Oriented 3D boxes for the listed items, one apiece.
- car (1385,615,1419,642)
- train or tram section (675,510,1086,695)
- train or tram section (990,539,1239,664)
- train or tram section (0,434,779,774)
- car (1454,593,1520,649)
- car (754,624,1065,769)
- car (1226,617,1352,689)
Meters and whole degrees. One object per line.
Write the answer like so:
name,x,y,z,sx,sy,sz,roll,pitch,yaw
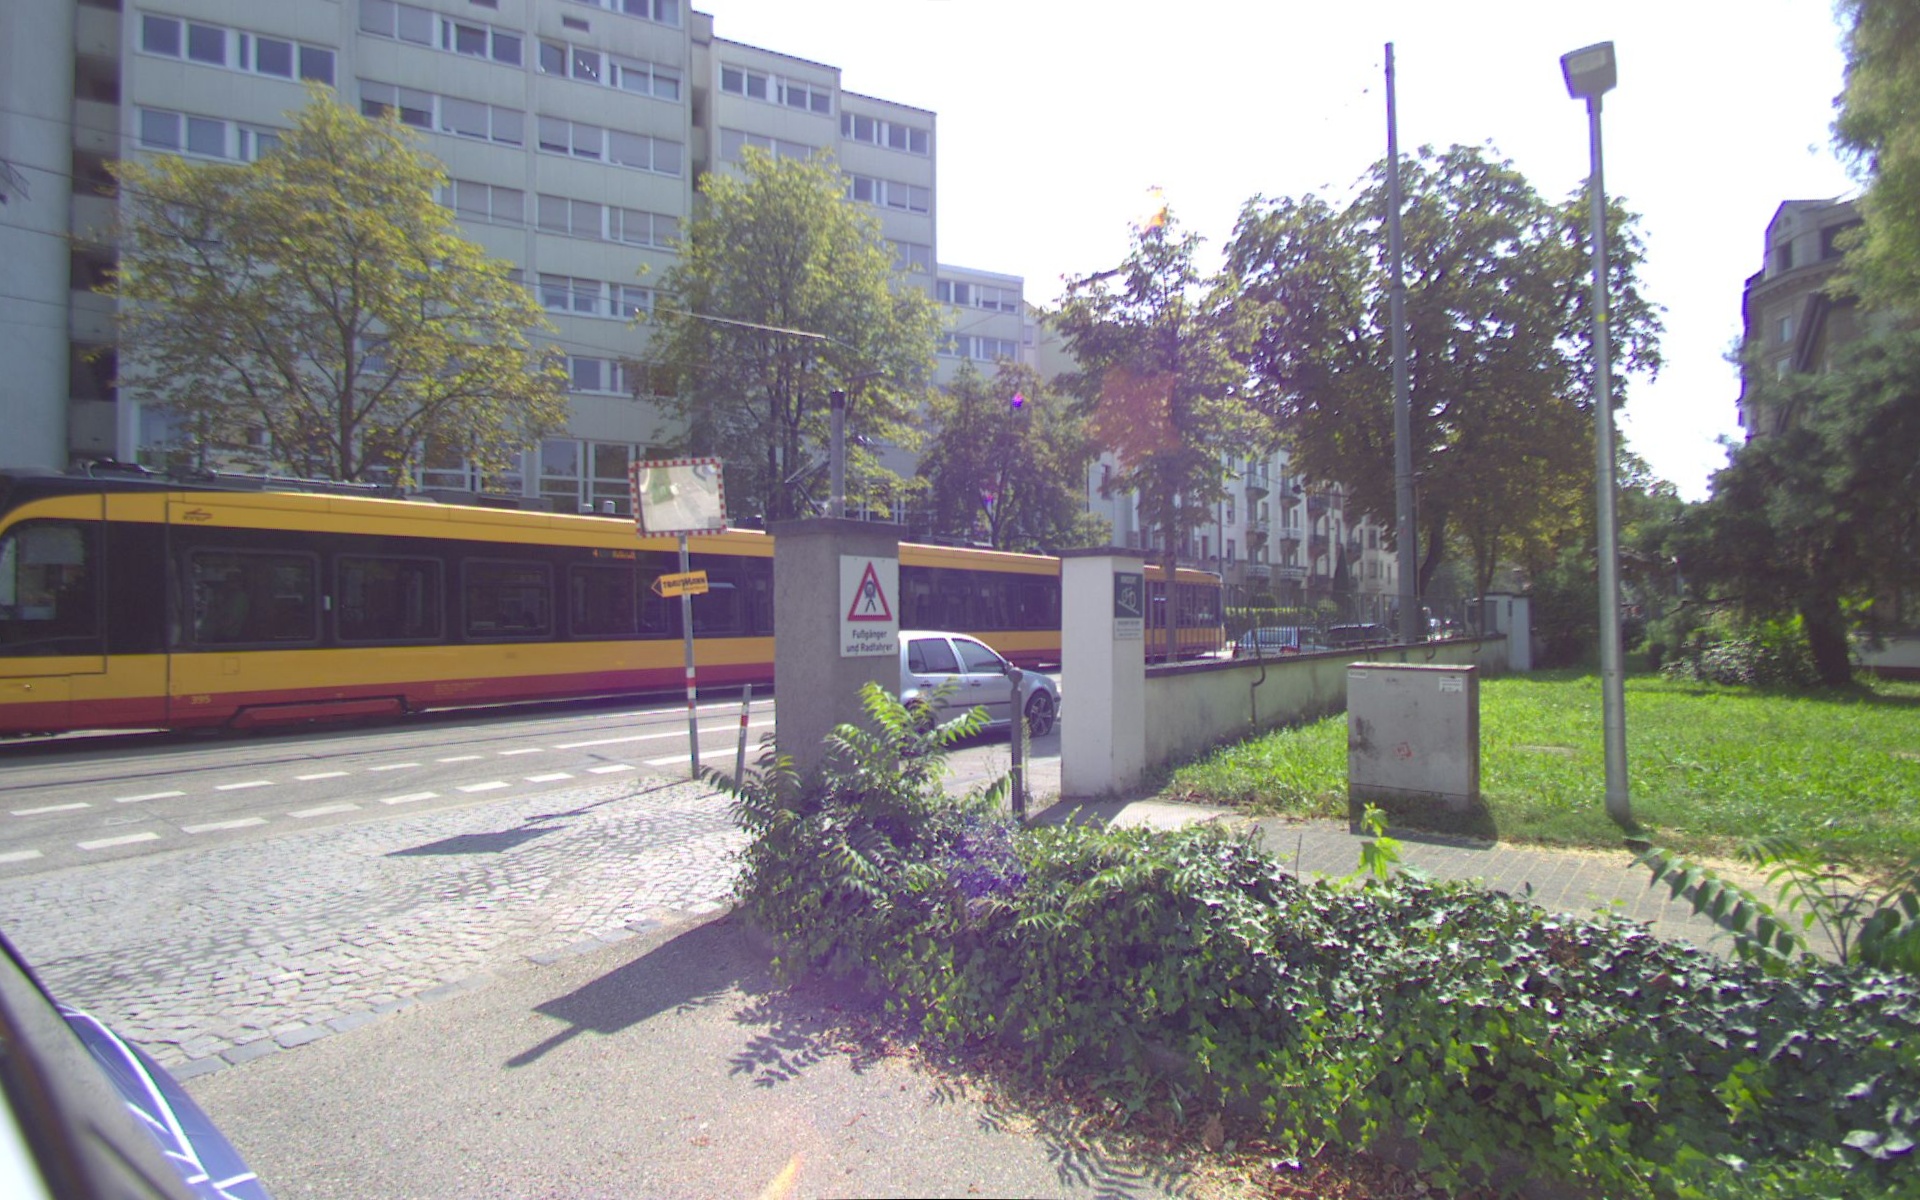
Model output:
car,40.917,2.600,93.568,2.243,2.460,3.954,-1,-1,34
train or tram section,-1.303,0.082,26.427,3.502,3.732,12.257,-1,-1,37
train or tram section,6.028,0.075,36.315,3.502,3.732,12.257,-1,-1,37
train or tram section,-8.697,0.071,16.499,3.502,3.732,12.257,-1,-1,37
car,23.731,0.925,45.539,1.997,2.383,3.950,-1,-1,37
car,-0.490,1.060,12.429,1.795,1.457,3.683,-3,-2,39
car,7.560,1.144,23.092,1.643,1.523,3.595,-1,-1,37
